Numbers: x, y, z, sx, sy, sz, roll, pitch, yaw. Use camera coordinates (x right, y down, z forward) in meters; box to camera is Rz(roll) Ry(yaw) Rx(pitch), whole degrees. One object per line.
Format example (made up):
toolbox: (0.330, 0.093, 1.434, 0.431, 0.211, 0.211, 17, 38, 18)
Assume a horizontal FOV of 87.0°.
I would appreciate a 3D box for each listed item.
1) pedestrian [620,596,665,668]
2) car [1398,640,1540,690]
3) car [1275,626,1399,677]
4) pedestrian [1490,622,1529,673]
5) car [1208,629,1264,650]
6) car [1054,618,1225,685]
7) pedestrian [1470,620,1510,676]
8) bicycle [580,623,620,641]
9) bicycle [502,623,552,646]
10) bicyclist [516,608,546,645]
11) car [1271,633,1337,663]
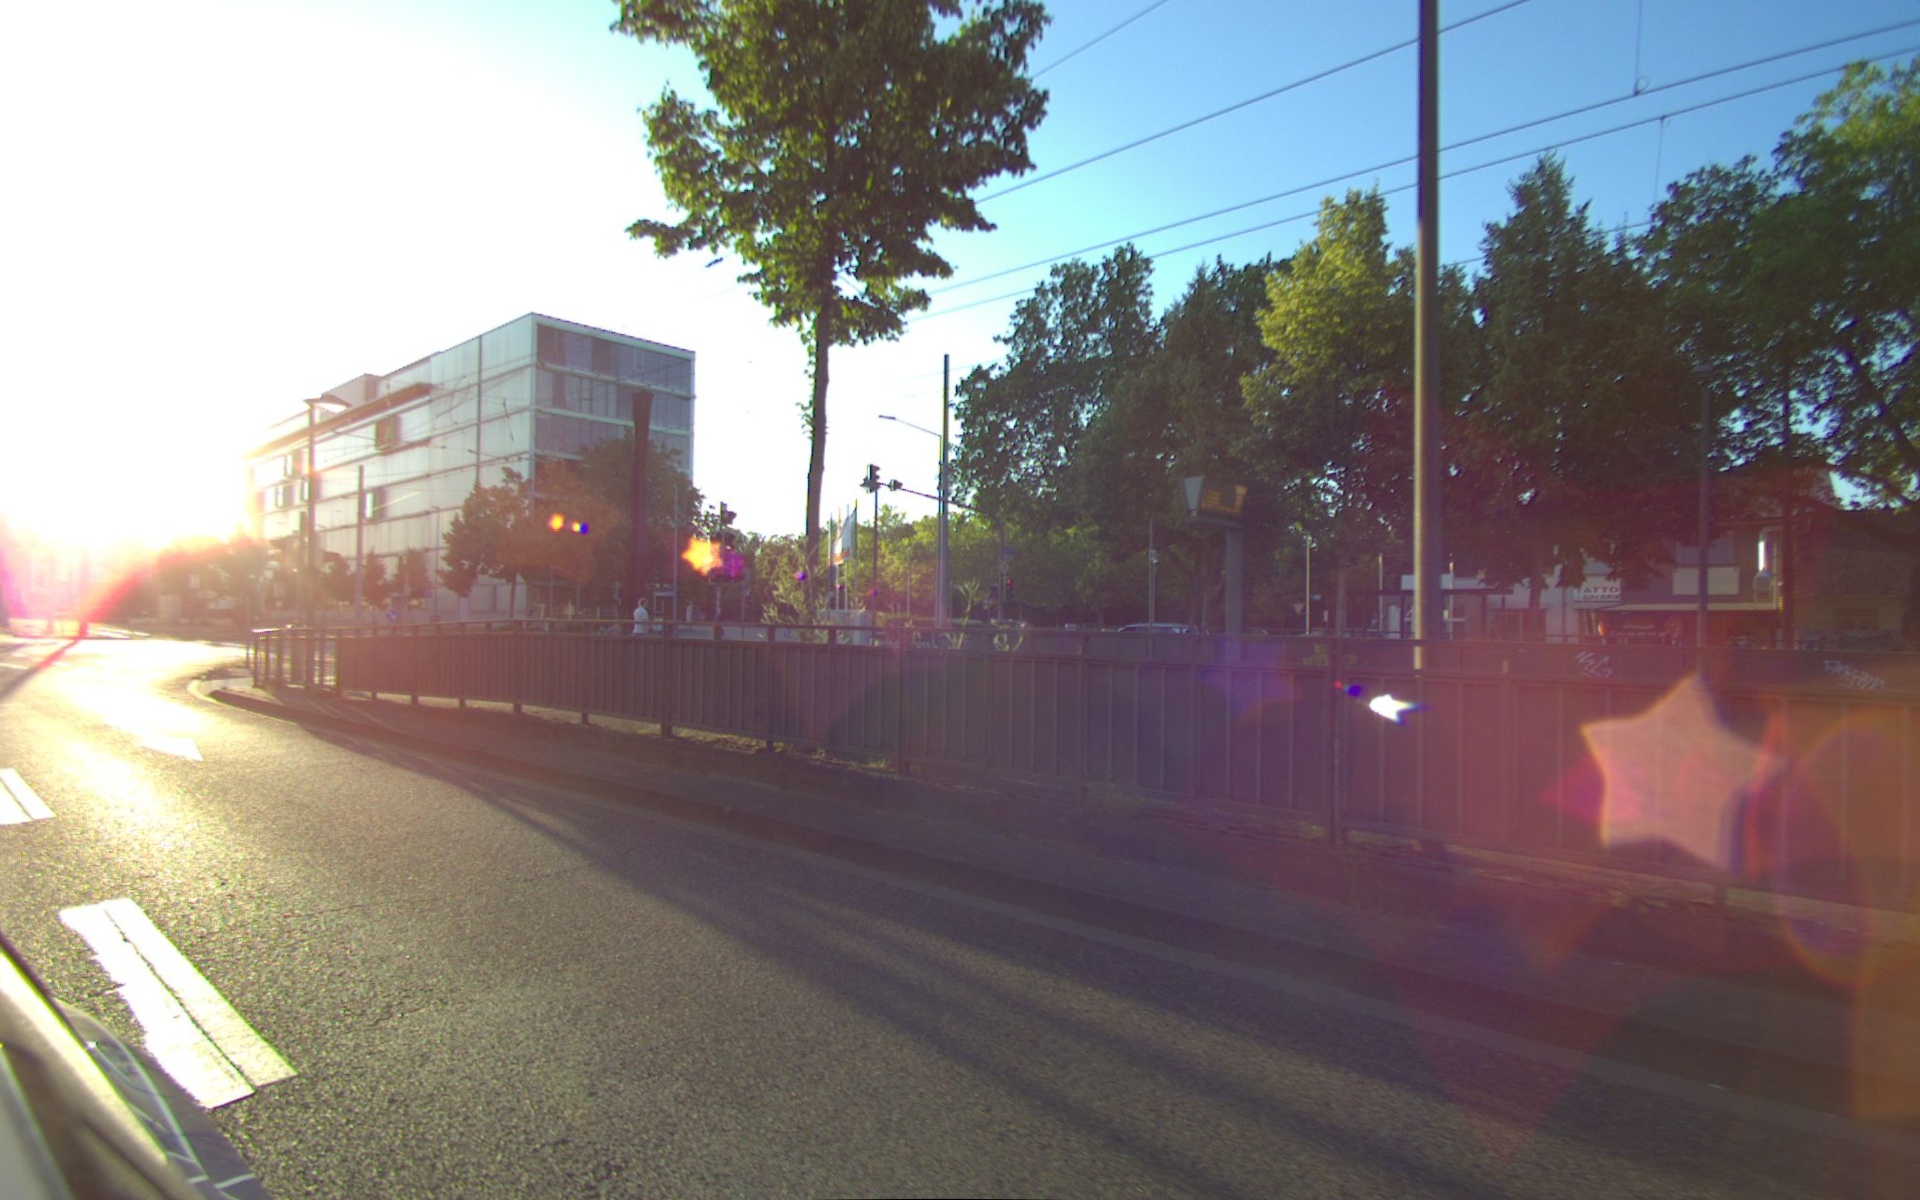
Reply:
pedestrian: (-8.223, 0.822, 26.217, 0.756, 1.804, 0.799, 2, 0, 12)
car: (18.480, 2.324, 36.864, 1.970, 1.589, 4.247, 3, -2, -44)
car: (15.096, 2.030, 40.657, 1.970, 1.860, 4.247, 3, -2, -44)
pedestrian: (17.978, 1.544, 33.136, 0.882, 1.651, 0.723, 2, -2, -22)
car: (22.873, 3.271, 83.899, 1.971, 1.573, 4.002, 3, -2, -45)
car: (5.089, 1.413, 29.029, 4.545, 1.741, 1.837, 0, -2, 40)
pedestrian: (16.940, 1.533, 32.358, 0.882, 1.768, 0.723, 2, -2, -22)
bicycle: (-23.024, 2.049, 64.811, 0.701, 1.144, 2.360, 0, -2, 40)
bicycle: (-20.636, 1.644, 48.309, 0.636, 1.076, 2.092, 0, -2, 43)
bicyclist: (-20.513, 1.264, 48.387, 1.035, 1.731, 0.982, 0, -2, 43)
car: (22.250, 3.123, 65.536, 3.807, 1.889, 1.880, 2, -1, -26)
